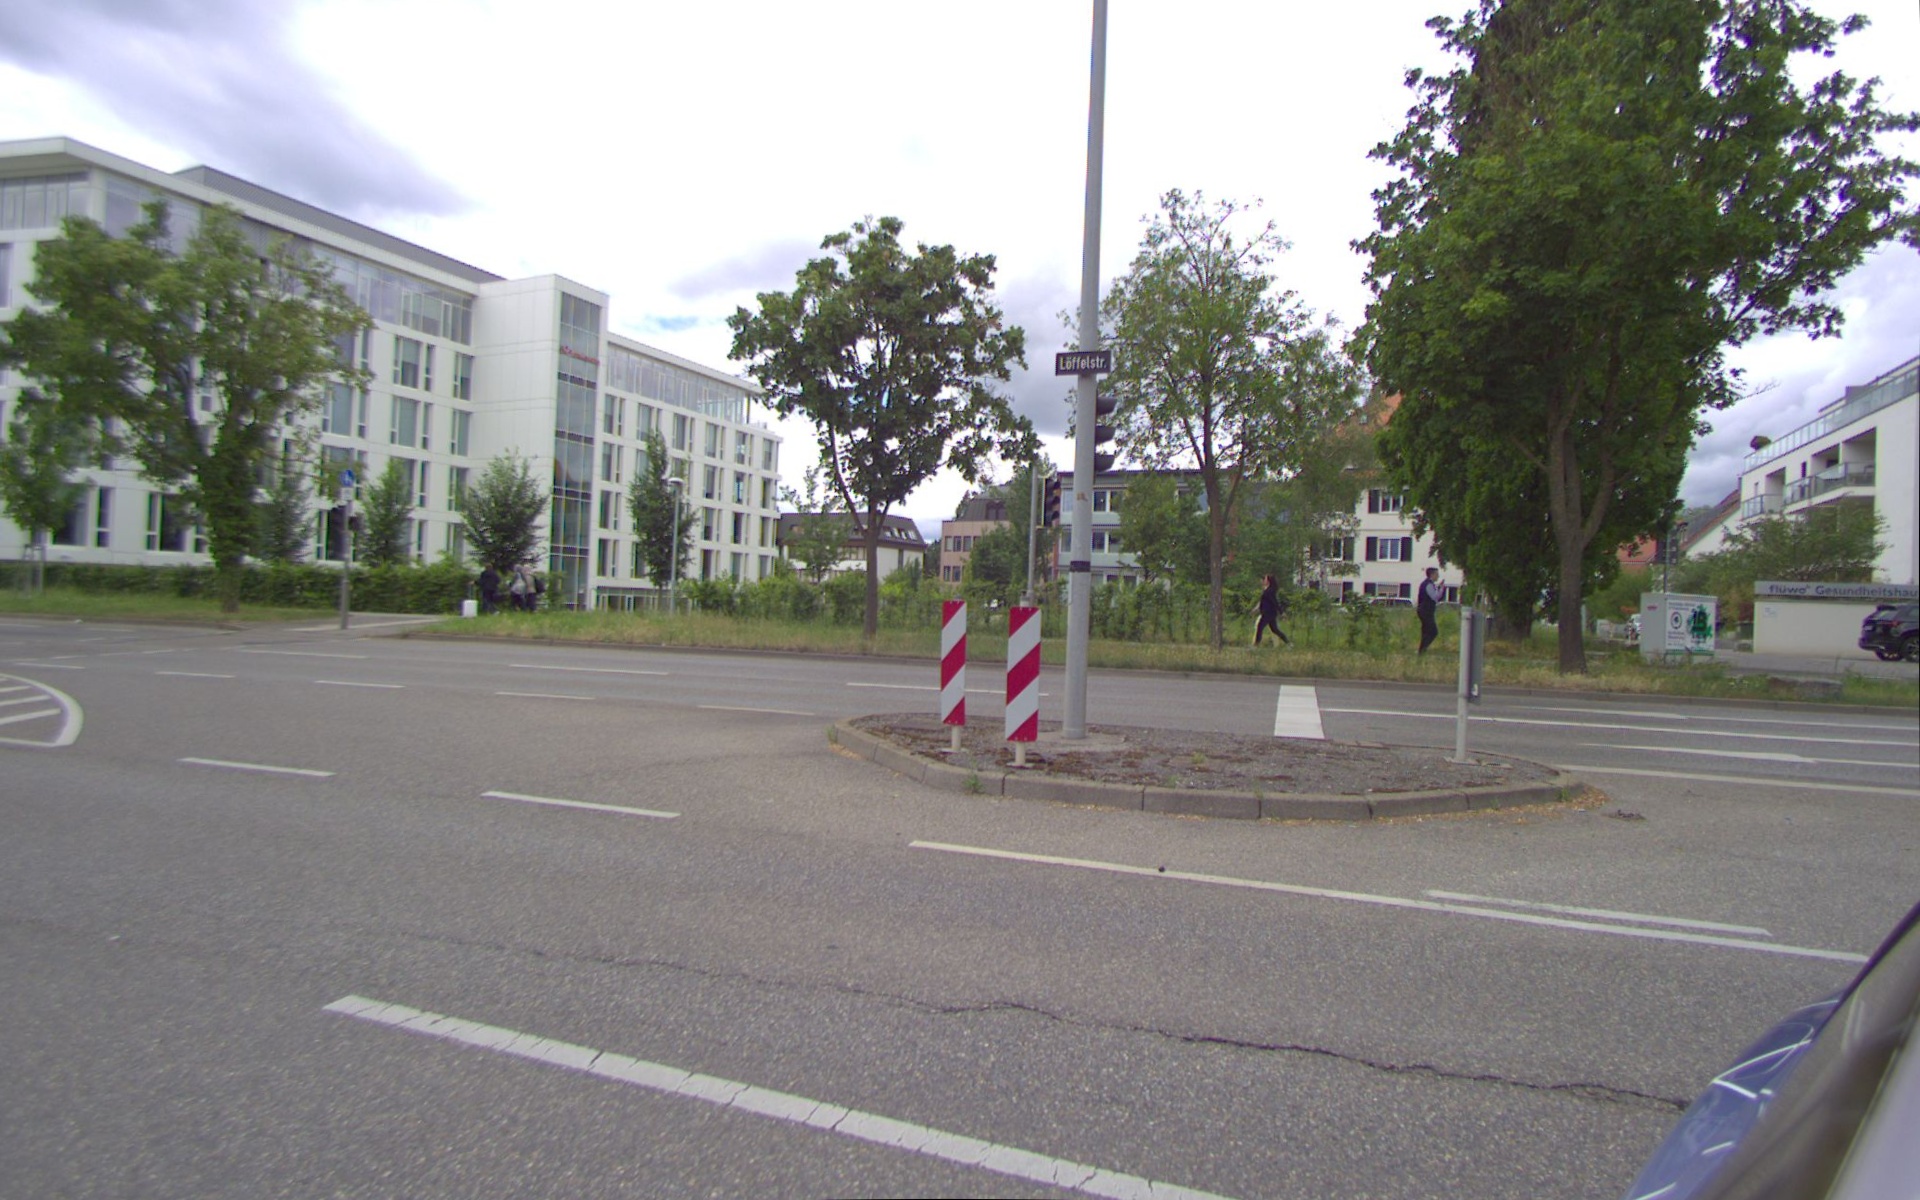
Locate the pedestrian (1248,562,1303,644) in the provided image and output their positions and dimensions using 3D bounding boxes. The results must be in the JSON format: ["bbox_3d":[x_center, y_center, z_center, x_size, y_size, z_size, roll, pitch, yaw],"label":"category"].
[{"bbox_3d":[6.736,0.068,21.633,0.986,1.718,0.607,0,-3,7],"label":"pedestrian"}]

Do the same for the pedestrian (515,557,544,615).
[{"bbox_3d":[-12.515,-0.382,29.436,0.674,1.647,0.662,1,-3,-18],"label":"pedestrian"}]

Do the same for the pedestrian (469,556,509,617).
[{"bbox_3d":[-13.171,-0.360,28.293,0.721,1.647,1.032,2,-3,-41],"label":"pedestrian"}]

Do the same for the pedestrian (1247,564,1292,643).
[{"bbox_3d":[6.803,0.091,22.261,0.818,1.718,0.615,0,-3,7],"label":"pedestrian"}]

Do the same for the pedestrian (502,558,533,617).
[{"bbox_3d":[-12.530,-0.344,28.652,0.556,1.647,0.706,3,-4,-44],"label":"pedestrian"}]

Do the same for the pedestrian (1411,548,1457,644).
[{"bbox_3d":[9.158,-0.060,19.541,0.743,1.821,0.664,-1,-3,28],"label":"pedestrian"}]

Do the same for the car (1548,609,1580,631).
[{"bbox_3d":[45.701,1.530,76.648,1.940,1.572,3.921,-1,-3,30],"label":"car"}]

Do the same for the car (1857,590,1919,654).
[{"bbox_3d":[26.436,0.644,26.413,4.082,1.621,1.982,2,-2,25],"label":"car"}]
